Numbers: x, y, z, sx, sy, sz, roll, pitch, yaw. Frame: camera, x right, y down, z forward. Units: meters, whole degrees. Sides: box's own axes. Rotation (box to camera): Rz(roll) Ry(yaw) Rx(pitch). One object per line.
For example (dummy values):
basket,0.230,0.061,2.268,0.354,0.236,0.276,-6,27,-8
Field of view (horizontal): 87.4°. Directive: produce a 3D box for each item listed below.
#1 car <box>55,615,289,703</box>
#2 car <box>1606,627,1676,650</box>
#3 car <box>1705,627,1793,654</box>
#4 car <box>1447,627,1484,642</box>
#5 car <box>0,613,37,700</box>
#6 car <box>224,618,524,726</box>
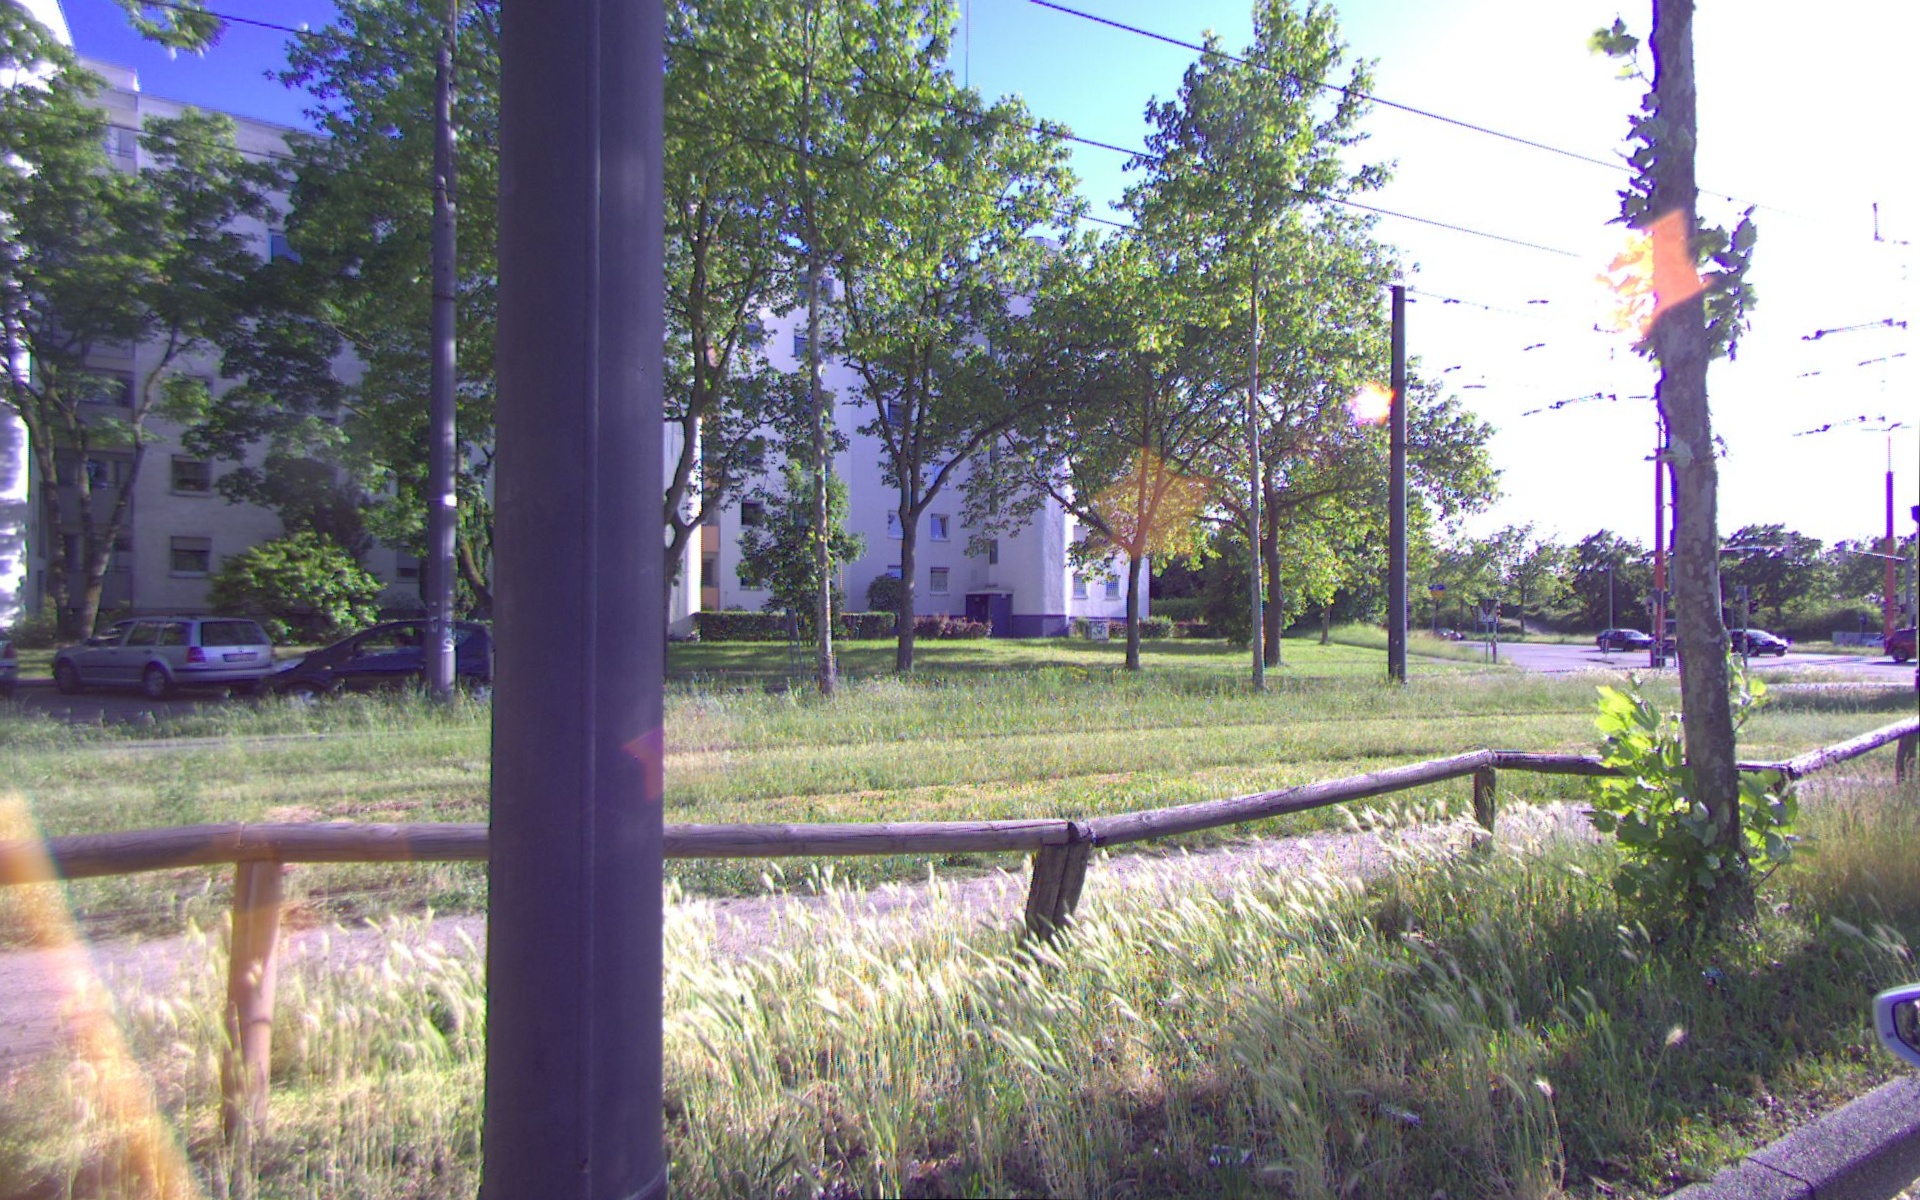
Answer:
car,-14.475,1.029,18.482,3.609,1.452,1.732,0,-1,20
car,46.064,2.579,68.056,1.876,1.483,4.241,1,-1,0
car,45.680,2.331,58.253,1.877,1.483,4.056,1,-1,-1
car,47.822,3.281,95.054,1.707,1.327,3.817,1,-1,3
car,-17.919,0.931,17.138,3.609,1.452,1.703,0,-1,20
car,-8.722,1.023,15.247,3.712,1.439,1.813,1,-1,-29
